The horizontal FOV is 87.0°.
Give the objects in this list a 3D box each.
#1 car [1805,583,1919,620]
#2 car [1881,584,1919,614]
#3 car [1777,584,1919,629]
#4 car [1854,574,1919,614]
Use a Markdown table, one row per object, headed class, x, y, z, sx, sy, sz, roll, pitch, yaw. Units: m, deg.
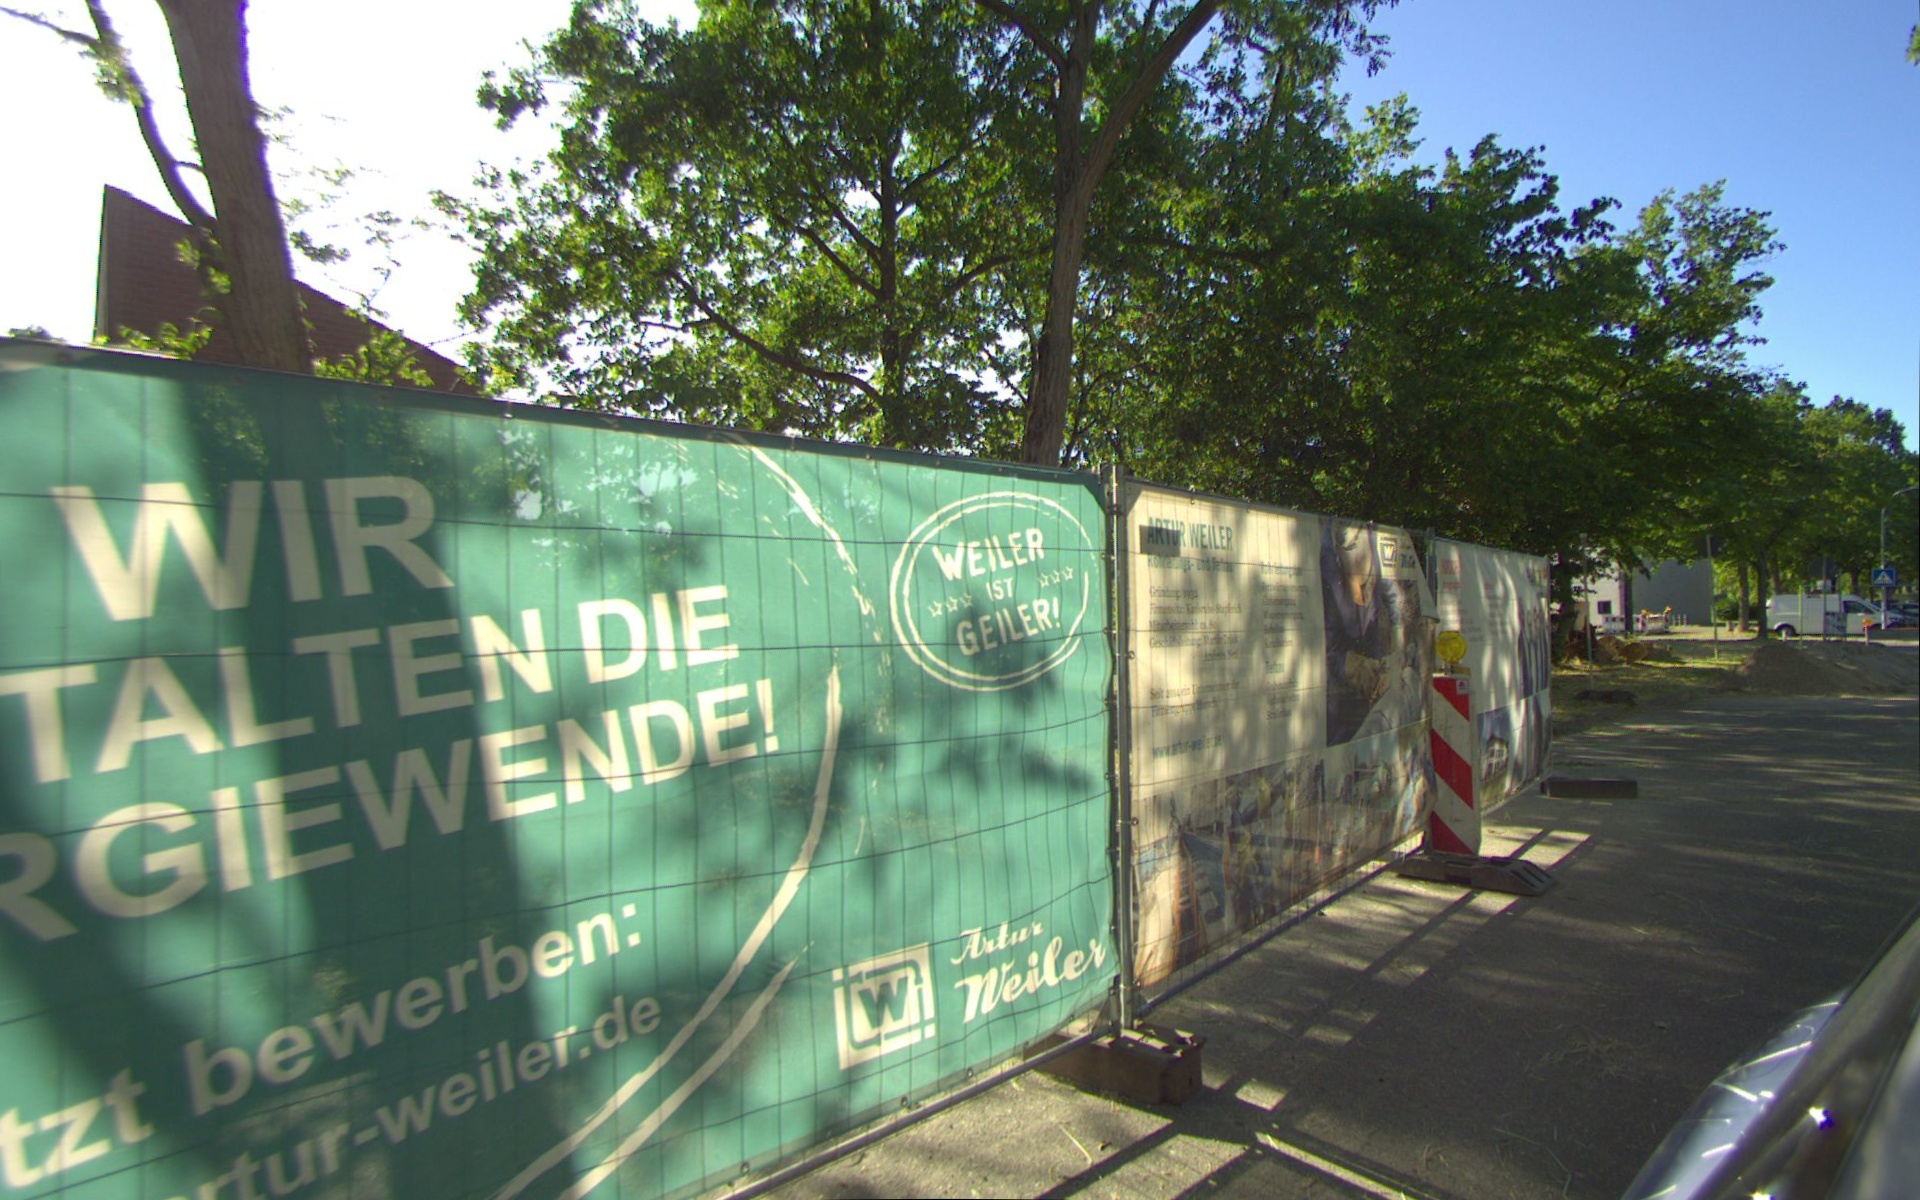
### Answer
| class | x | y | z | sx | sy | sz | roll | pitch | yaw |
| --- | --- | --- | --- | --- | --- | --- | --- | --- | --- |
| car | 52.347 | 0.121 | 58.216 | 1.968 | 2.030 | 5.569 | 0 | -1 | -45 |
| car | 65.736 | -0.042 | 69.046 | 1.540 | 2.030 | 4.234 | 1 | -1 | -45 |
| car | 41.879 | 0.319 | 47.526 | 1.966 | 2.030 | 5.261 | 0 | -1 | -42 |
| car | 61.434 | -0.390 | 66.125 | 1.858 | 2.578 | 4.400 | 1 | -1 | -45 |
